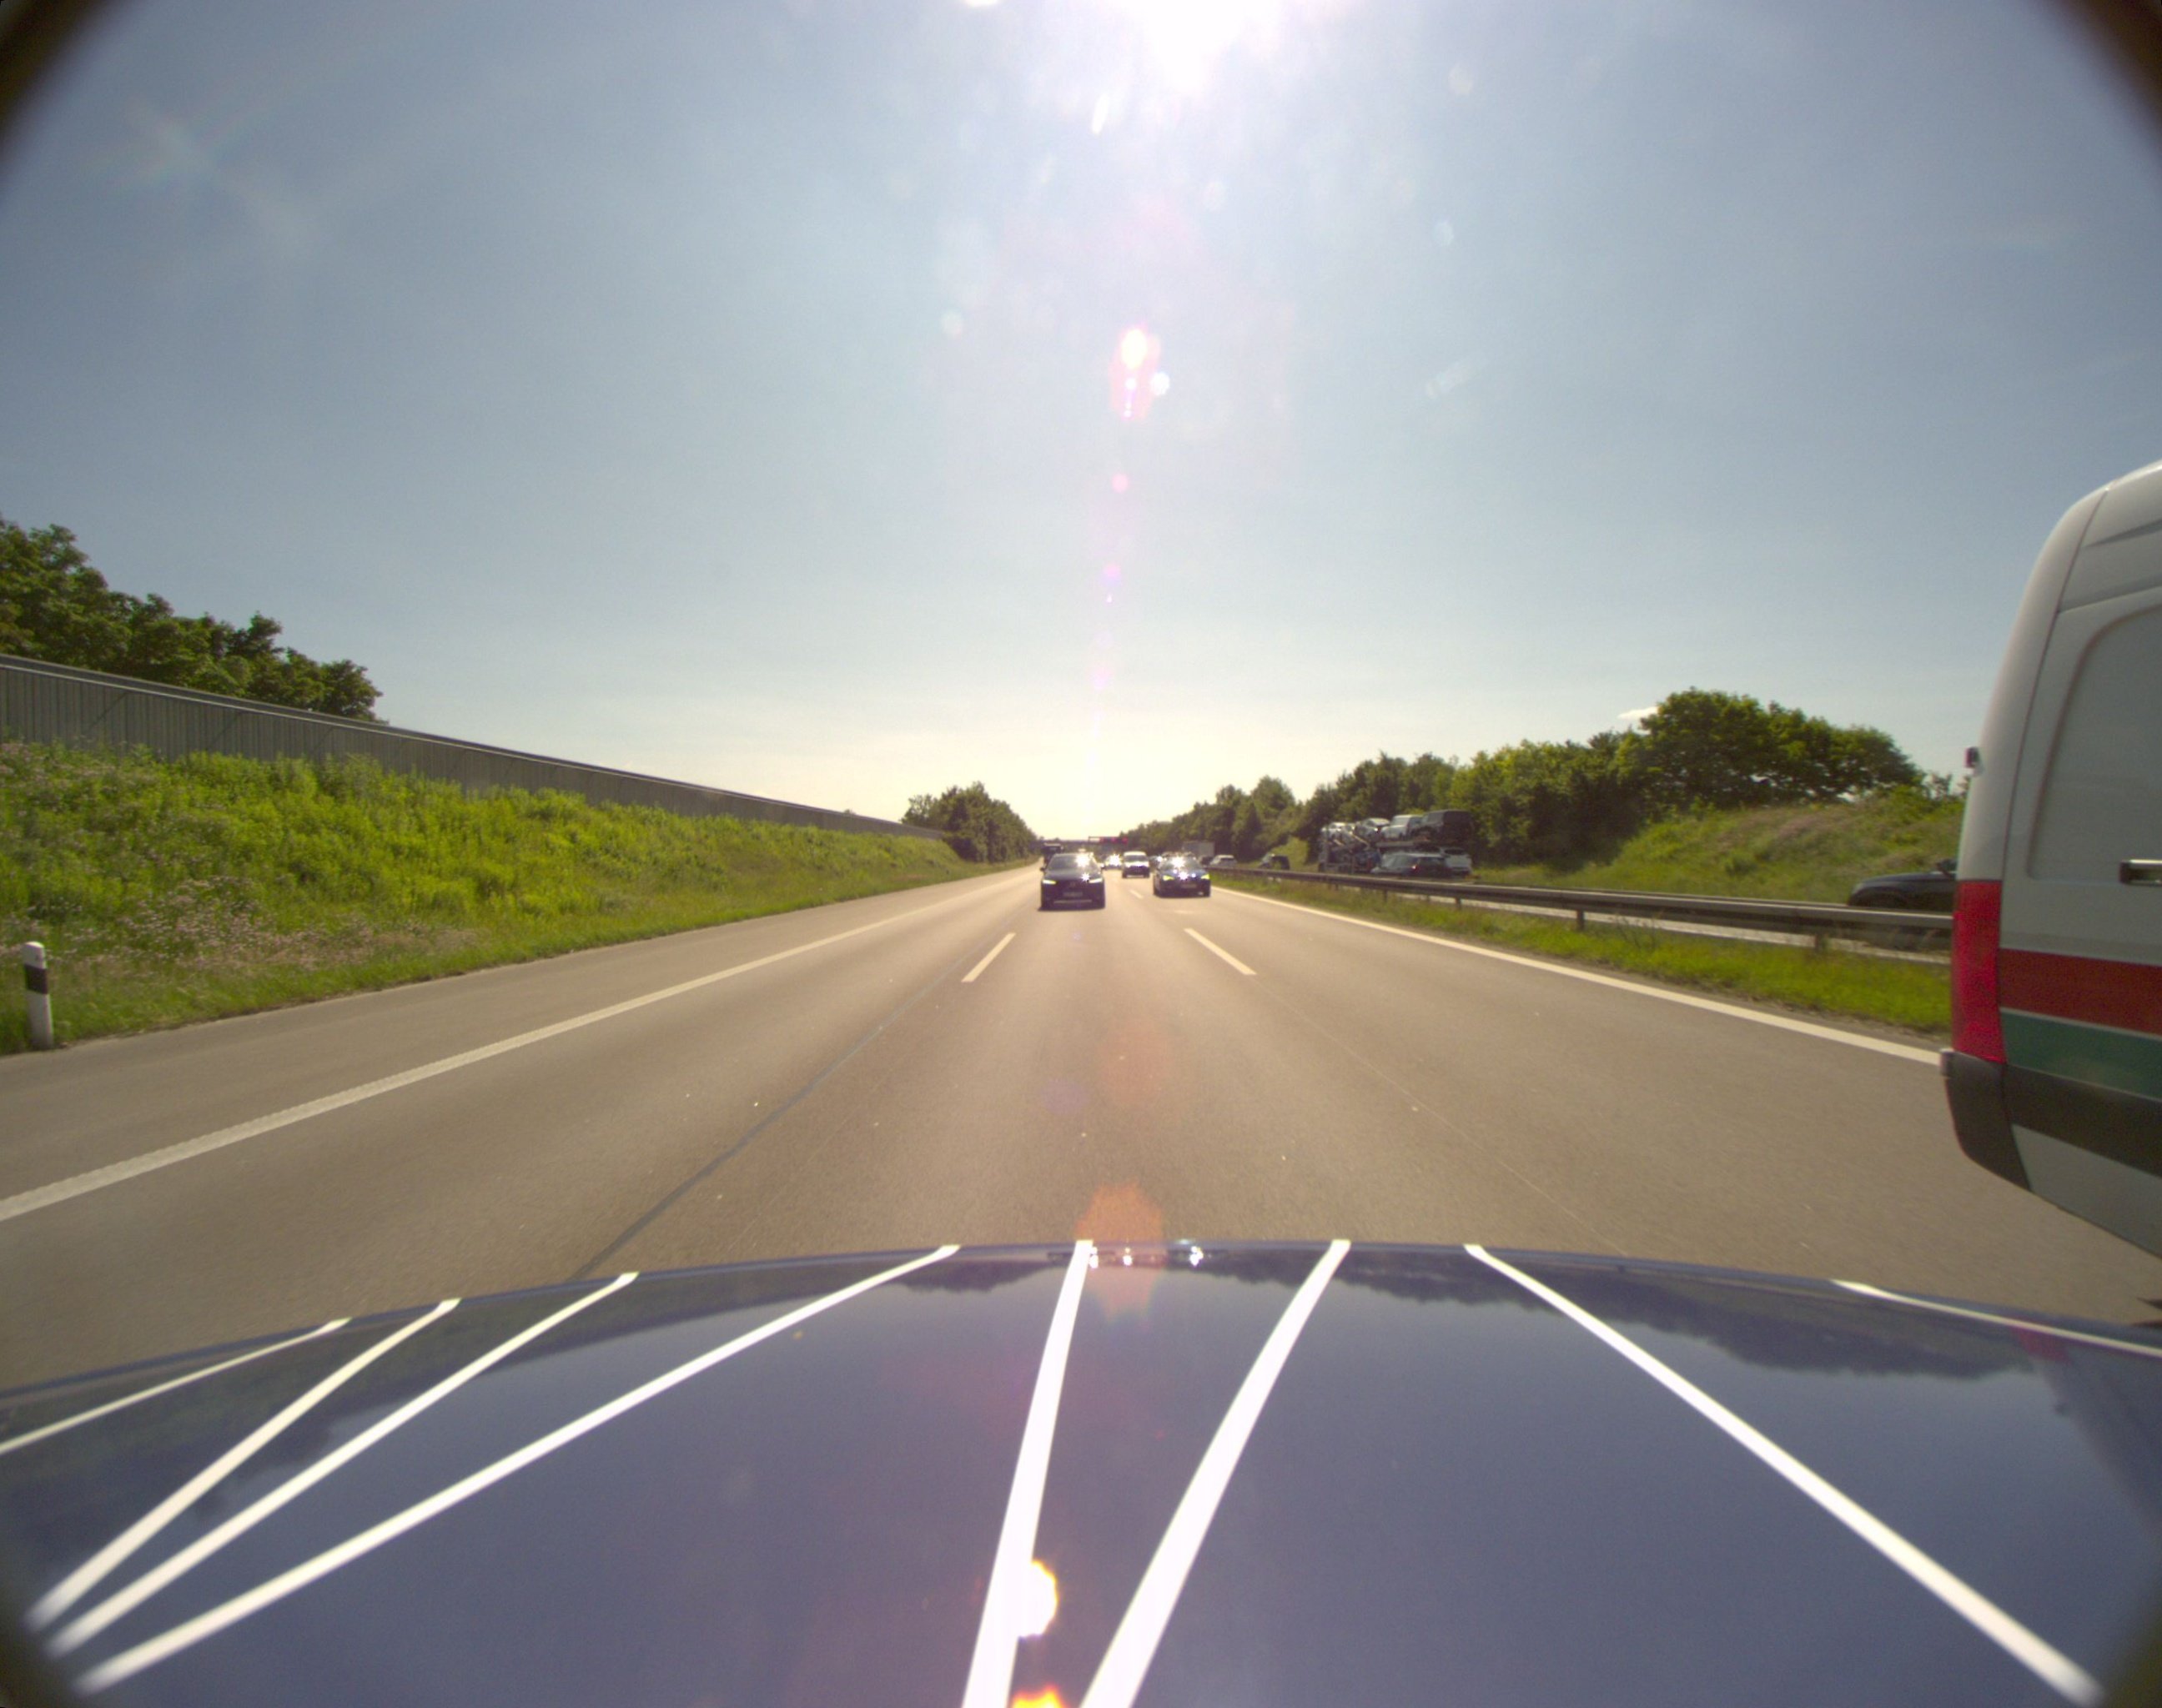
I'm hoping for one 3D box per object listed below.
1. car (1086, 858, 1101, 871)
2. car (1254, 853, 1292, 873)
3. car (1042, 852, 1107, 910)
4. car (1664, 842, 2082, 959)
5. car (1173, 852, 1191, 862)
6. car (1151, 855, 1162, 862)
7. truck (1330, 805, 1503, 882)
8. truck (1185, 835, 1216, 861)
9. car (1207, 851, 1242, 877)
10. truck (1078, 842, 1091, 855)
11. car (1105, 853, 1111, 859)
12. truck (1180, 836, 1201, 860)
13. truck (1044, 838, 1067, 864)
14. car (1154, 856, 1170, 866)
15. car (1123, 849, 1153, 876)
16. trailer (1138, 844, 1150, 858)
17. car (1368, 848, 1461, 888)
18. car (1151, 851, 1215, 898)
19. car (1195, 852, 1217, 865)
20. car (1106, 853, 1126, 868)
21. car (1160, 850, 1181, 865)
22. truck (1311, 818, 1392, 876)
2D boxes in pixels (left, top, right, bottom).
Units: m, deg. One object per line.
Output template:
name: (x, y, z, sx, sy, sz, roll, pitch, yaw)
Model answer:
car: (1.605, 1.341, 96.884, 1.743, 1.630, 3.844, 0, 1, 2)
car: (15.898, 0.713, 63.025, 1.998, 1.604, 4.580, 0, 0, 0)
car: (-0.159, 0.770, 23.891, 1.812, 1.648, 4.000, -2, 0, 1)
car: (12.076, 0.601, 12.191, 1.916, 1.508, 4.617, 0, 0, 0)
car: (15.428, 0.428, 116.586, 1.999, 1.501, 5.207, 0, 0, -1)
car: (15.420, 0.871, 155.318, 1.799, 1.501, 4.349, 0, 0, -1)
truck: (20.149, -0.560, 47.789, 3.220, 4.026, 16.671, 0, 0, -1)
truck: (19.461, -0.961, 124.881, 2.679, 4.054, 13.957, 1, 0, -1)
car: (12.001, 0.772, 63.672, 1.998, 2.002, 4.913, -1, 1, 0)
truck: (0.957, -1.624, 217.258, 3.243, 3.684, 10.932, 0, 0, -2)
car: (8.714, 0.551, 247.706, 1.821, 1.892, 4.000, 0, 0, 0)
truck: (19.314, -1.014, 134.764, 2.679, 4.055, 6.075, 1, 0, -1)
truck: (-3.530, -0.367, 103.383, 2.966, 3.388, 8.045, 0, 1, -2)
car: (12.002, 0.983, 112.544, 1.879, 1.431, 5.018, 0, 0, 0)
car: (3.898, 0.559, 52.727, 1.870, 1.713, 3.980, -1, 1, 2)
trailer: (17.943, -0.892, 217.095, 2.686, 3.747, 8.405, 1, 0, -1)
car: (12.213, 0.478, 28.103, 1.720, 1.382, 4.000, 0, 0, 1)
car: (3.754, 0.718, 28.672, 1.904, 1.616, 4.240, -1, 0, 1)
car: (15.933, 0.577, 97.060, 1.969, 1.631, 4.895, 0, 0, 0)
car: (3.794, 0.655, 84.033, 1.999, 1.540, 3.999, -1, 1, 0)
car: (11.805, 0.424, 100.876, 2.095, 1.934, 5.688, 0, 0, 0)
truck: (19.969, -0.494, 56.568, 3.249, 4.026, 7.394, 0, 0, -1)
